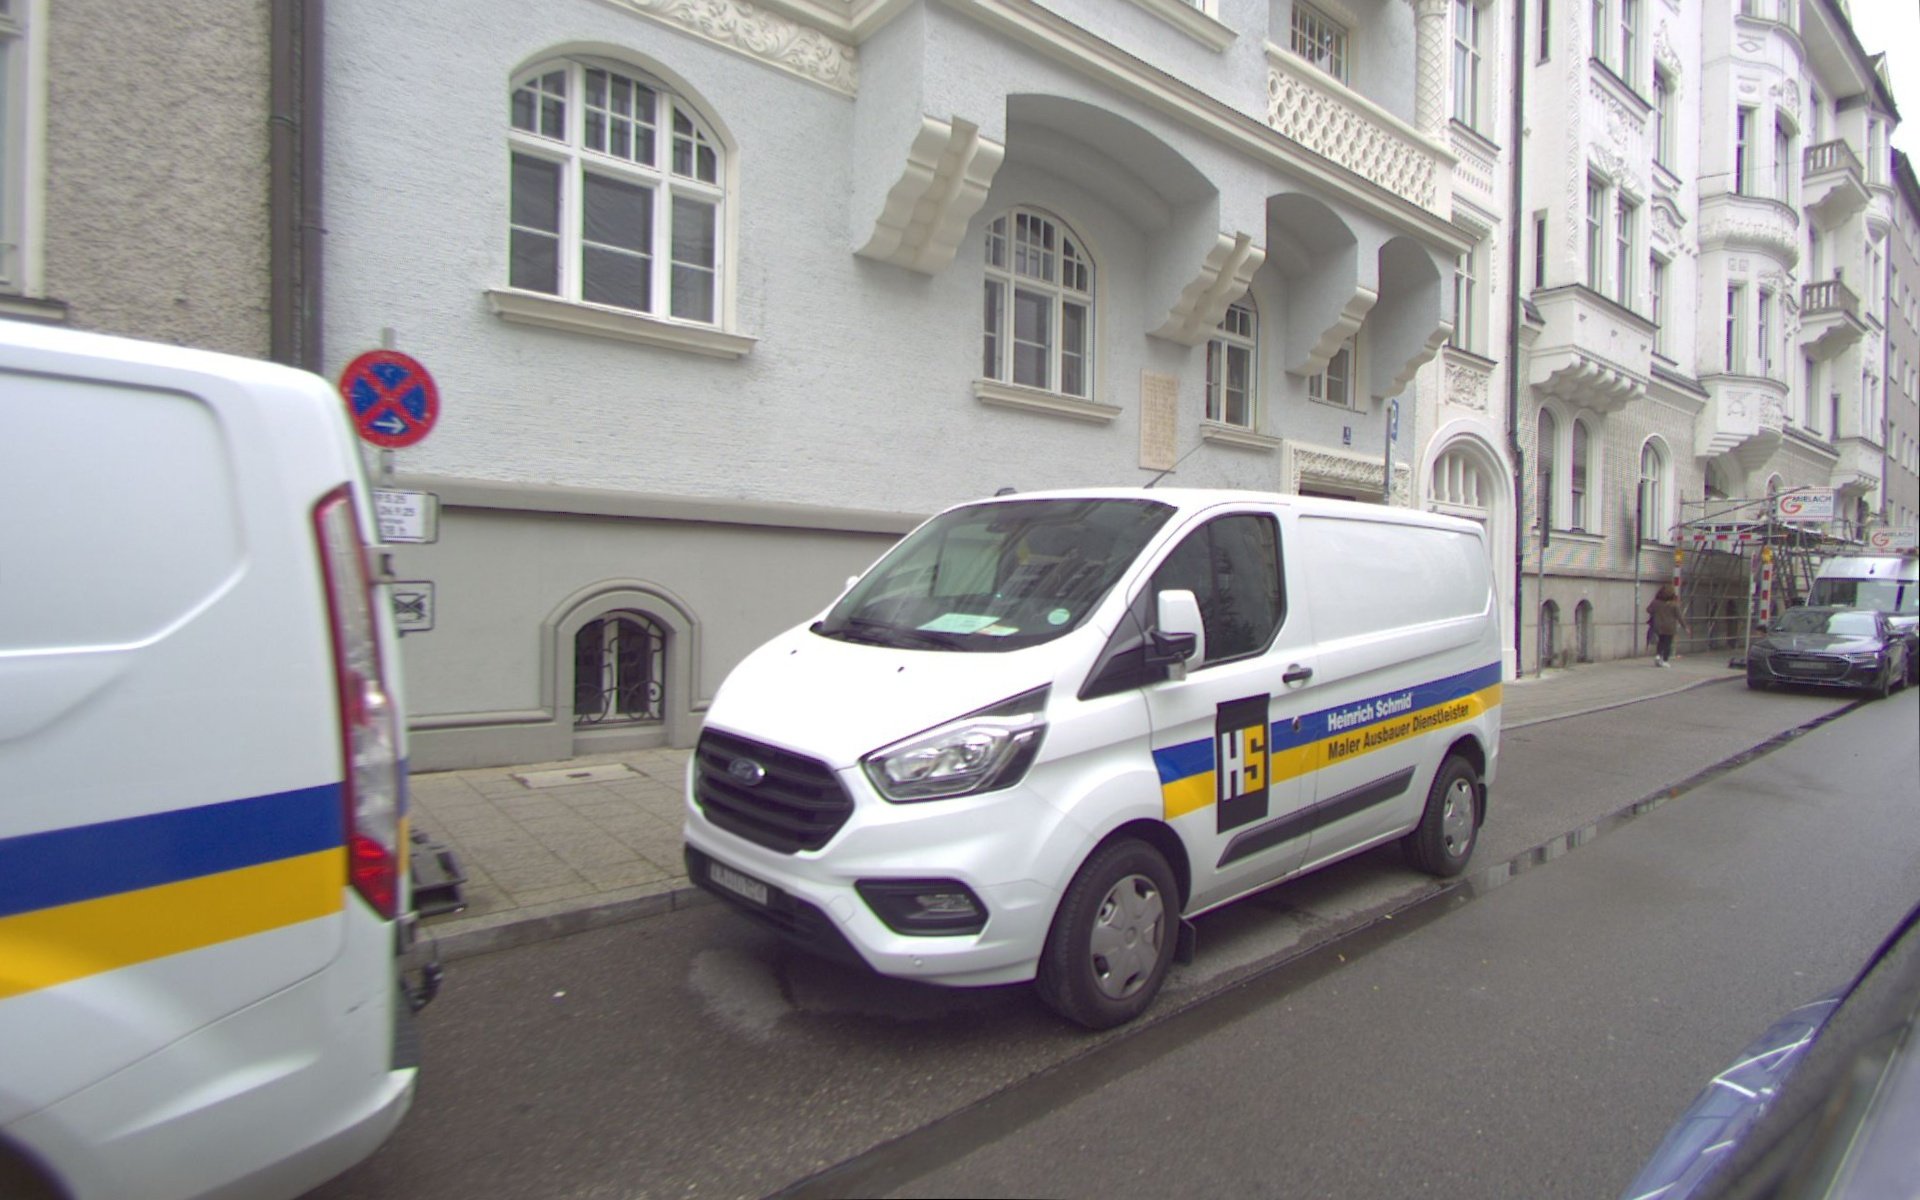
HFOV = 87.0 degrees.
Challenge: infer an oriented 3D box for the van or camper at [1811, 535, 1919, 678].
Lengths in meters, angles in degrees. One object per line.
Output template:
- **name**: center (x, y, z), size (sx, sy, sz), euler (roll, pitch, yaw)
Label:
- **van or camper**: center (19.556, 0.093, 21.067), size (5.362, 2.670, 1.957), euler (0, 1, -41)

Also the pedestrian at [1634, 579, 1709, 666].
- **pedestrian**: center (13.780, 0.402, 19.612), size (0.999, 1.573, 0.922), euler (-2, 4, -41)

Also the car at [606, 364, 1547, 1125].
- **car**: center (1.012, 0.363, 5.100), size (4.908, 2.039, 1.962), euler (0, 1, -42)

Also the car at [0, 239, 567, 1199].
- **car**: center (-3.302, 0.405, 1.215), size (4.908, 1.961, 1.962), euler (0, 1, -42)

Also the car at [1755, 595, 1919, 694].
- **car**: center (15.102, 0.662, 17.260), size (4.017, 1.452, 1.756), euler (0, 1, -42)
